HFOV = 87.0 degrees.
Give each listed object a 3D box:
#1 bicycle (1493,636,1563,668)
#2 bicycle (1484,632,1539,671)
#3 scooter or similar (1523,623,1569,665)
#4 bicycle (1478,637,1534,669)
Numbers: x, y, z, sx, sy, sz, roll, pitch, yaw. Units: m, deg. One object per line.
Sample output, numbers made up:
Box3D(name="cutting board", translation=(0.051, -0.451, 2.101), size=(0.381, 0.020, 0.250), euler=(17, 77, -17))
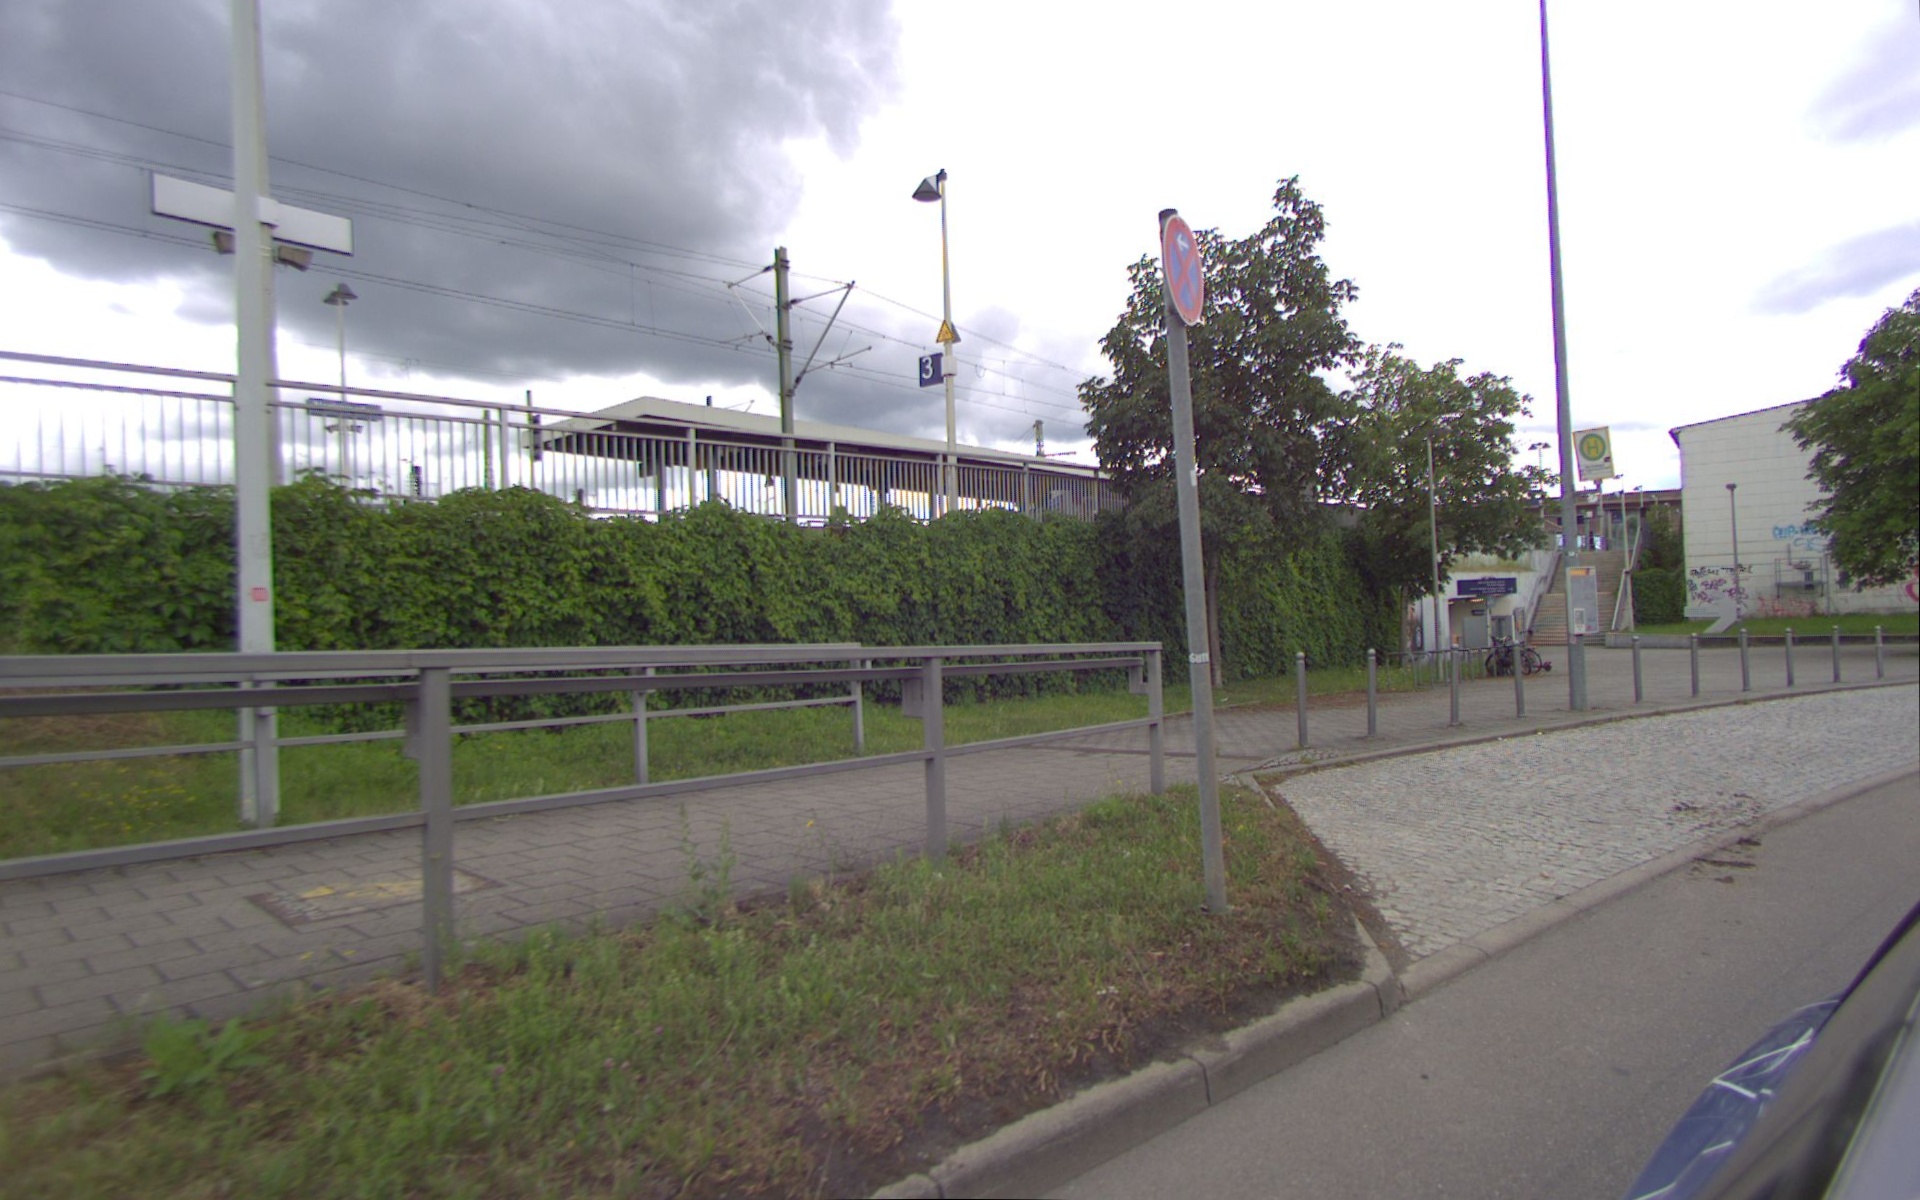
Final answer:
Box3D(name="bicycle", translation=(16.423, 1.516, 29.324), size=(0.500, 0.876, 1.975), euler=(-1, -4, -14))
Box3D(name="bicycle", translation=(14.911, 1.381, 27.413), size=(0.682, 1.002, 1.490), euler=(-1, -2, 3))
Box3D(name="scooter or similar", translation=(17.597, 1.329, 30.422), size=(0.458, 1.222, 1.193), euler=(-1, -3, -11))
Box3D(name="bicycle", translation=(15.333, 1.485, 28.451), size=(0.454, 0.865, 1.582), euler=(-1, -3, -11))
